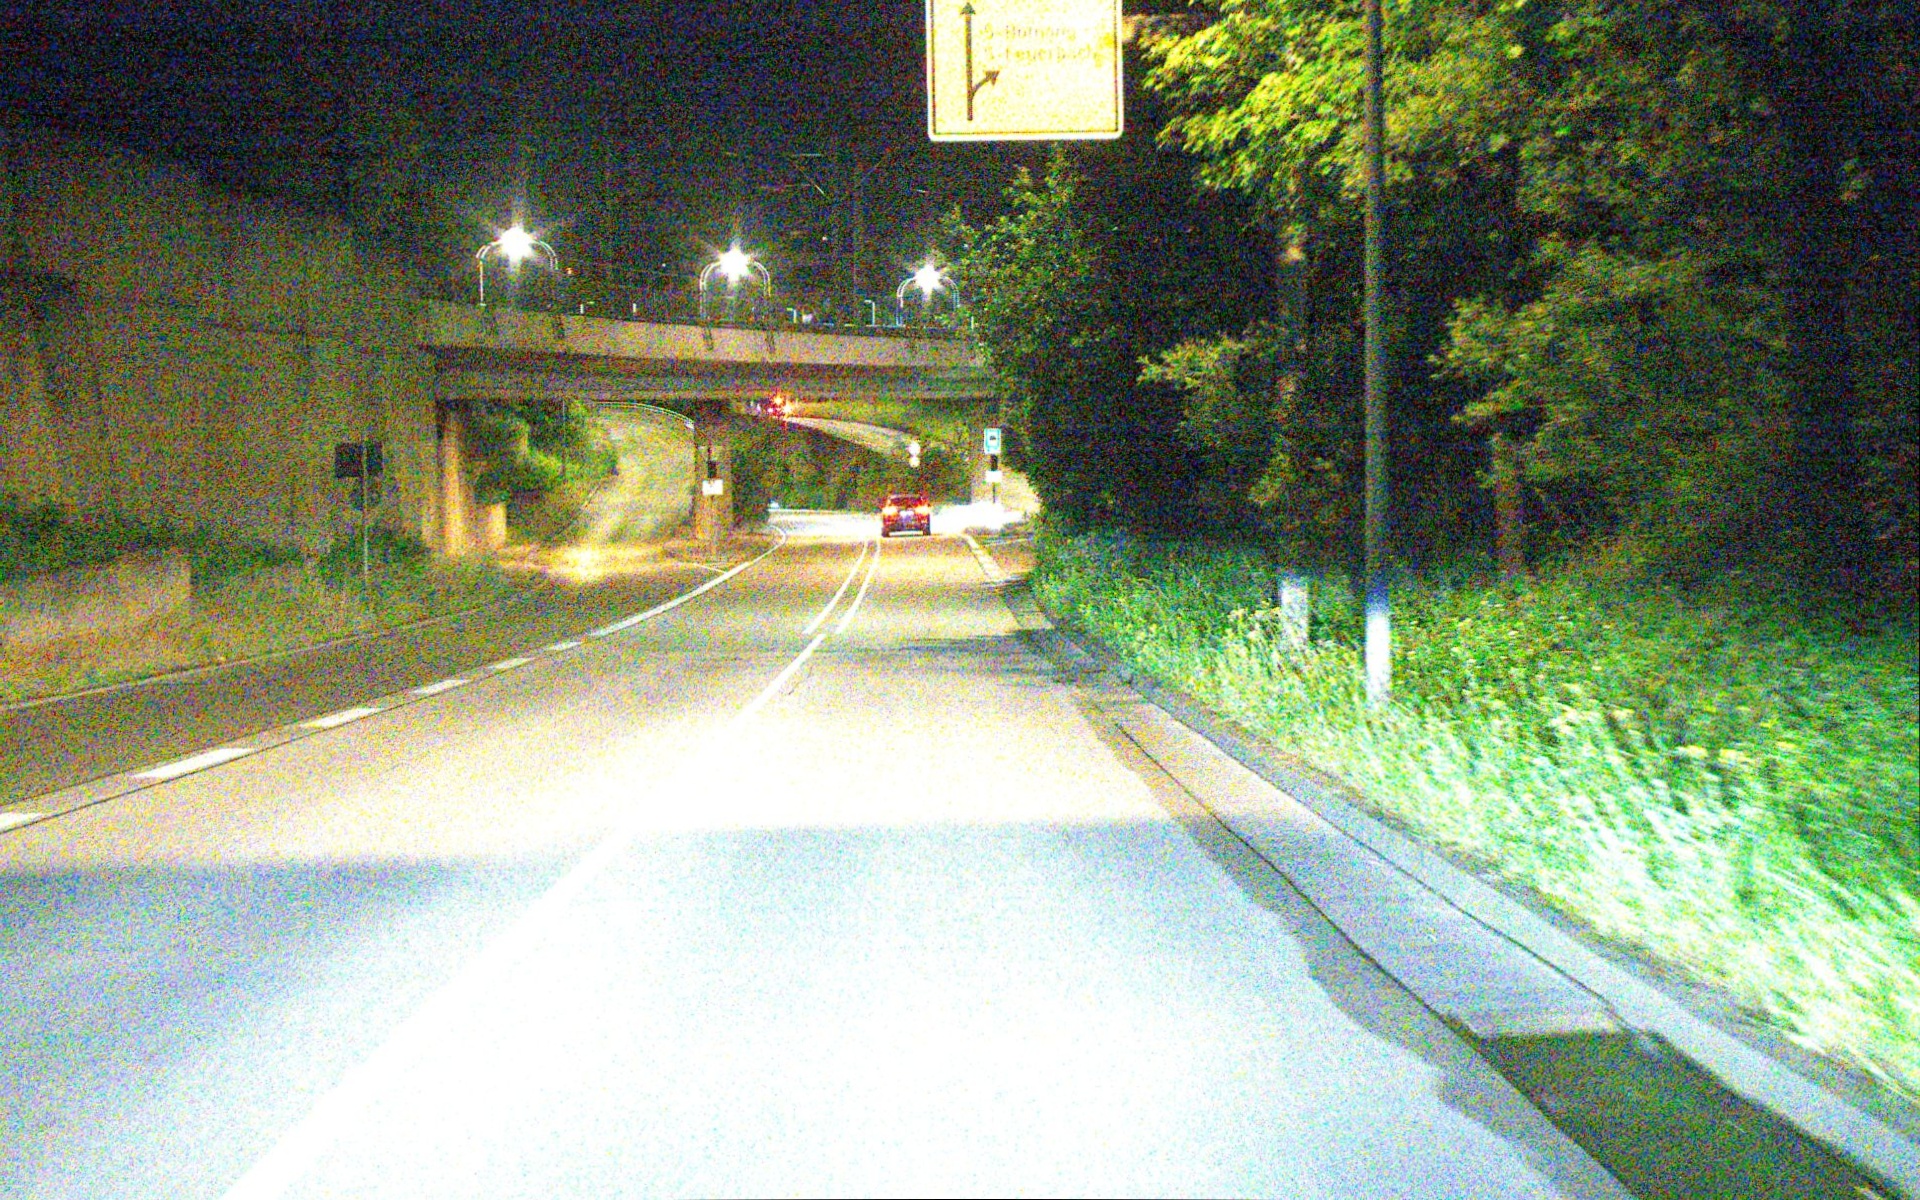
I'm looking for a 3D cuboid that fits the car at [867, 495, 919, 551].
[{"bbox_3d":[-2.524,-2.907,130.302,1.918,2.007,4.123,1,1,-1],"label":"car"}]
